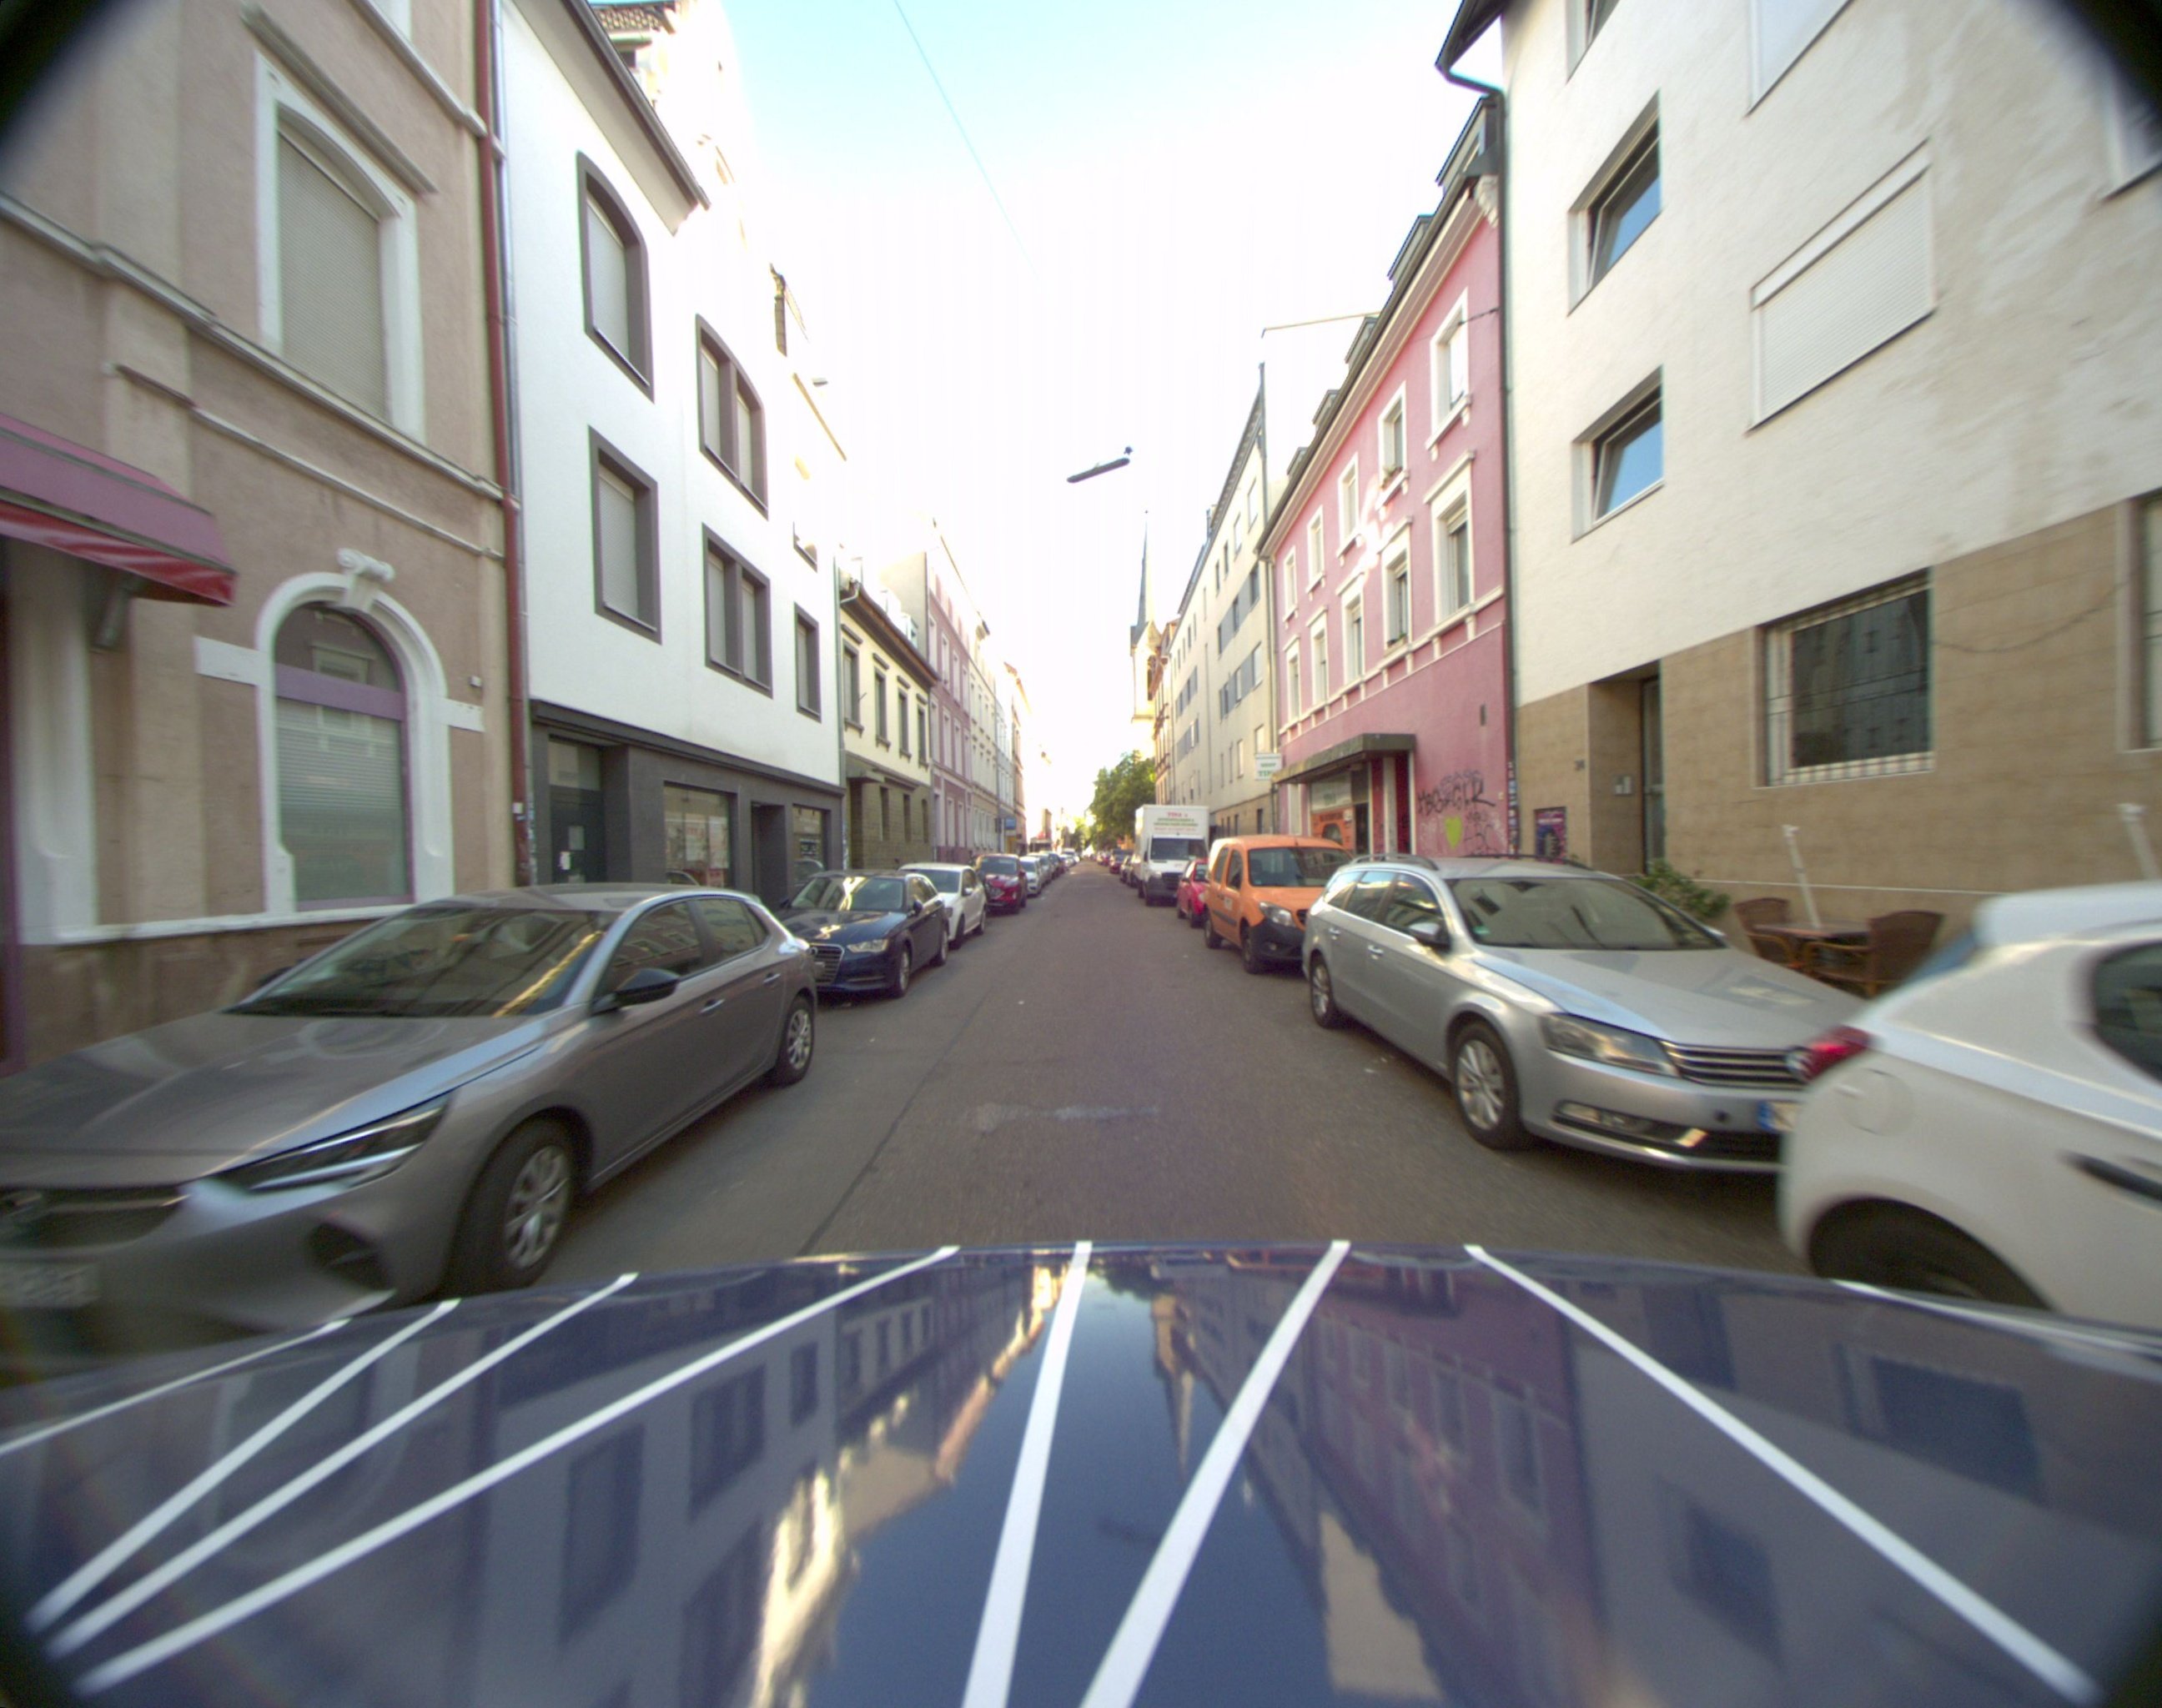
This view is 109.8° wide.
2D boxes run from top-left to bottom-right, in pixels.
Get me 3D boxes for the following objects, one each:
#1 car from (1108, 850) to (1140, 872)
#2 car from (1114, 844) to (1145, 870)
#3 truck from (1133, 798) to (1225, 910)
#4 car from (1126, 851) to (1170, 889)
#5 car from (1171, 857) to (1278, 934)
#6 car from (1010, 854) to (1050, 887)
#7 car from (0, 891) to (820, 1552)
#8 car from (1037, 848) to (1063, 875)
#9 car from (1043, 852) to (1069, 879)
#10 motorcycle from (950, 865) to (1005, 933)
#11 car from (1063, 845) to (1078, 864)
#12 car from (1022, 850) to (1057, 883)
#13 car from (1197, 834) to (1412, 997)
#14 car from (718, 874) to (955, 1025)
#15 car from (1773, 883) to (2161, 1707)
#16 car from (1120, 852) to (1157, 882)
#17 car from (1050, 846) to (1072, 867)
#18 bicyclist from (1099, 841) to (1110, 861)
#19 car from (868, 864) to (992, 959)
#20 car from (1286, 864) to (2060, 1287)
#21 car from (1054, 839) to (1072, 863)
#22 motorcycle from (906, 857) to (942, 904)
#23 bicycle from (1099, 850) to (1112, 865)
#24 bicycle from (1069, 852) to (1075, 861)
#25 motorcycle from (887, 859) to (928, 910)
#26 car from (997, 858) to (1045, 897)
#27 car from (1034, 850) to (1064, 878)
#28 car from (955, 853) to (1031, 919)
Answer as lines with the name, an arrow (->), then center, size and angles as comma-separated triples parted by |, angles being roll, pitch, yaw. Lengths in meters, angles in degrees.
car -> 3.237, 0.495, 57.860 | 1.927, 1.522, 4.562 | -3, 1, -3
car -> 4.070, 0.248, 64.013 | 1.999, 2.002, 4.562 | -3, 1, -3
truck -> 3.033, -0.037, 25.145 | 2.296, 3.165, 7.044 | -1, 1, 2
car -> 3.058, 0.703, 35.446 | 1.687, 1.579, 3.914 | 1, 1, 0
car -> 3.062, 0.828, 16.891 | 1.687, 1.458, 3.659 | -1, 1, 0
car -> -2.406, 0.759, 36.576 | 1.613, 1.444, 3.881 | 0, 1, 0
car -> -2.795, 1.007, 3.808 | 1.613, 1.400, 3.881 | 0, 1, 0
car -> -2.160, 0.491, 54.088 | 1.713, 1.802, 4.220 | 0, 1, 0
car -> -2.032, 0.893, 62.866 | 1.999, 2.002, 4.563 | -3, 1, -2
motorcycle -> -2.457, 1.037, 18.314 | 0.990, 1.481, 2.267 | 0, 1, 0
car -> -1.627, 0.065, 119.114 | 1.999, 2.777, 4.562 | -3, 1, -3
car -> -2.237, 0.659, 42.024 | 1.713, 1.721, 4.220 | 0, 1, 0
car -> 2.869, 0.676, 10.767 | 1.807, 1.834, 4.243 | -1, 1, 0
car -> -2.801, 1.017, 9.646 | 1.736, 1.388, 3.881 | 0, 1, 0
car -> 2.746, 0.876, 0.176 | 1.681, 1.546, 3.817 | 0, 1, 0
car -> 3.063, 0.655, 41.253 | 1.687, 1.482, 3.914 | 1, 1, 0
car -> -2.036, 0.219, 75.165 | 1.999, 2.002, 4.562 | -3, 1, -3
bicyclist -> 2.715, -0.333, 87.526 | 1.020, 2.280, 1.531 | -3, 1, -4
car -> -2.749, 0.994, 14.647 | 1.620, 1.495, 3.772 | 0, 1, 0
car -> 2.832, 0.868, 5.123 | 1.677, 1.488, 4.530 | 0, 1, 0
car -> -2.248, -0.353, 93.059 | 1.999, 2.777, 4.562 | -3, 1, -3
motorcycle -> -5.095, 0.835, 24.777 | 0.697, 1.388, 2.037 | -3, 1, 0
bicycle -> 2.781, 0.363, 87.616 | 1.020, 1.641, 3.546 | -3, 1, -4
bicycle -> -1.191, 0.293, 103.185 | 0.729, 1.173, 2.488 | -3, 1, -2
motorcycle -> -5.130, 0.863, 22.551 | 0.667, 1.388, 2.037 | -3, 1, 0
car -> -2.339, 0.879, 30.399 | 1.613, 1.388, 3.881 | 0, 1, 0
car -> -2.005, 0.591, 48.762 | 1.713, 1.721, 4.220 | 0, 1, 0
car -> -2.499, 0.847, 22.503 | 1.713, 1.721, 4.407 | 0, 1, 0
